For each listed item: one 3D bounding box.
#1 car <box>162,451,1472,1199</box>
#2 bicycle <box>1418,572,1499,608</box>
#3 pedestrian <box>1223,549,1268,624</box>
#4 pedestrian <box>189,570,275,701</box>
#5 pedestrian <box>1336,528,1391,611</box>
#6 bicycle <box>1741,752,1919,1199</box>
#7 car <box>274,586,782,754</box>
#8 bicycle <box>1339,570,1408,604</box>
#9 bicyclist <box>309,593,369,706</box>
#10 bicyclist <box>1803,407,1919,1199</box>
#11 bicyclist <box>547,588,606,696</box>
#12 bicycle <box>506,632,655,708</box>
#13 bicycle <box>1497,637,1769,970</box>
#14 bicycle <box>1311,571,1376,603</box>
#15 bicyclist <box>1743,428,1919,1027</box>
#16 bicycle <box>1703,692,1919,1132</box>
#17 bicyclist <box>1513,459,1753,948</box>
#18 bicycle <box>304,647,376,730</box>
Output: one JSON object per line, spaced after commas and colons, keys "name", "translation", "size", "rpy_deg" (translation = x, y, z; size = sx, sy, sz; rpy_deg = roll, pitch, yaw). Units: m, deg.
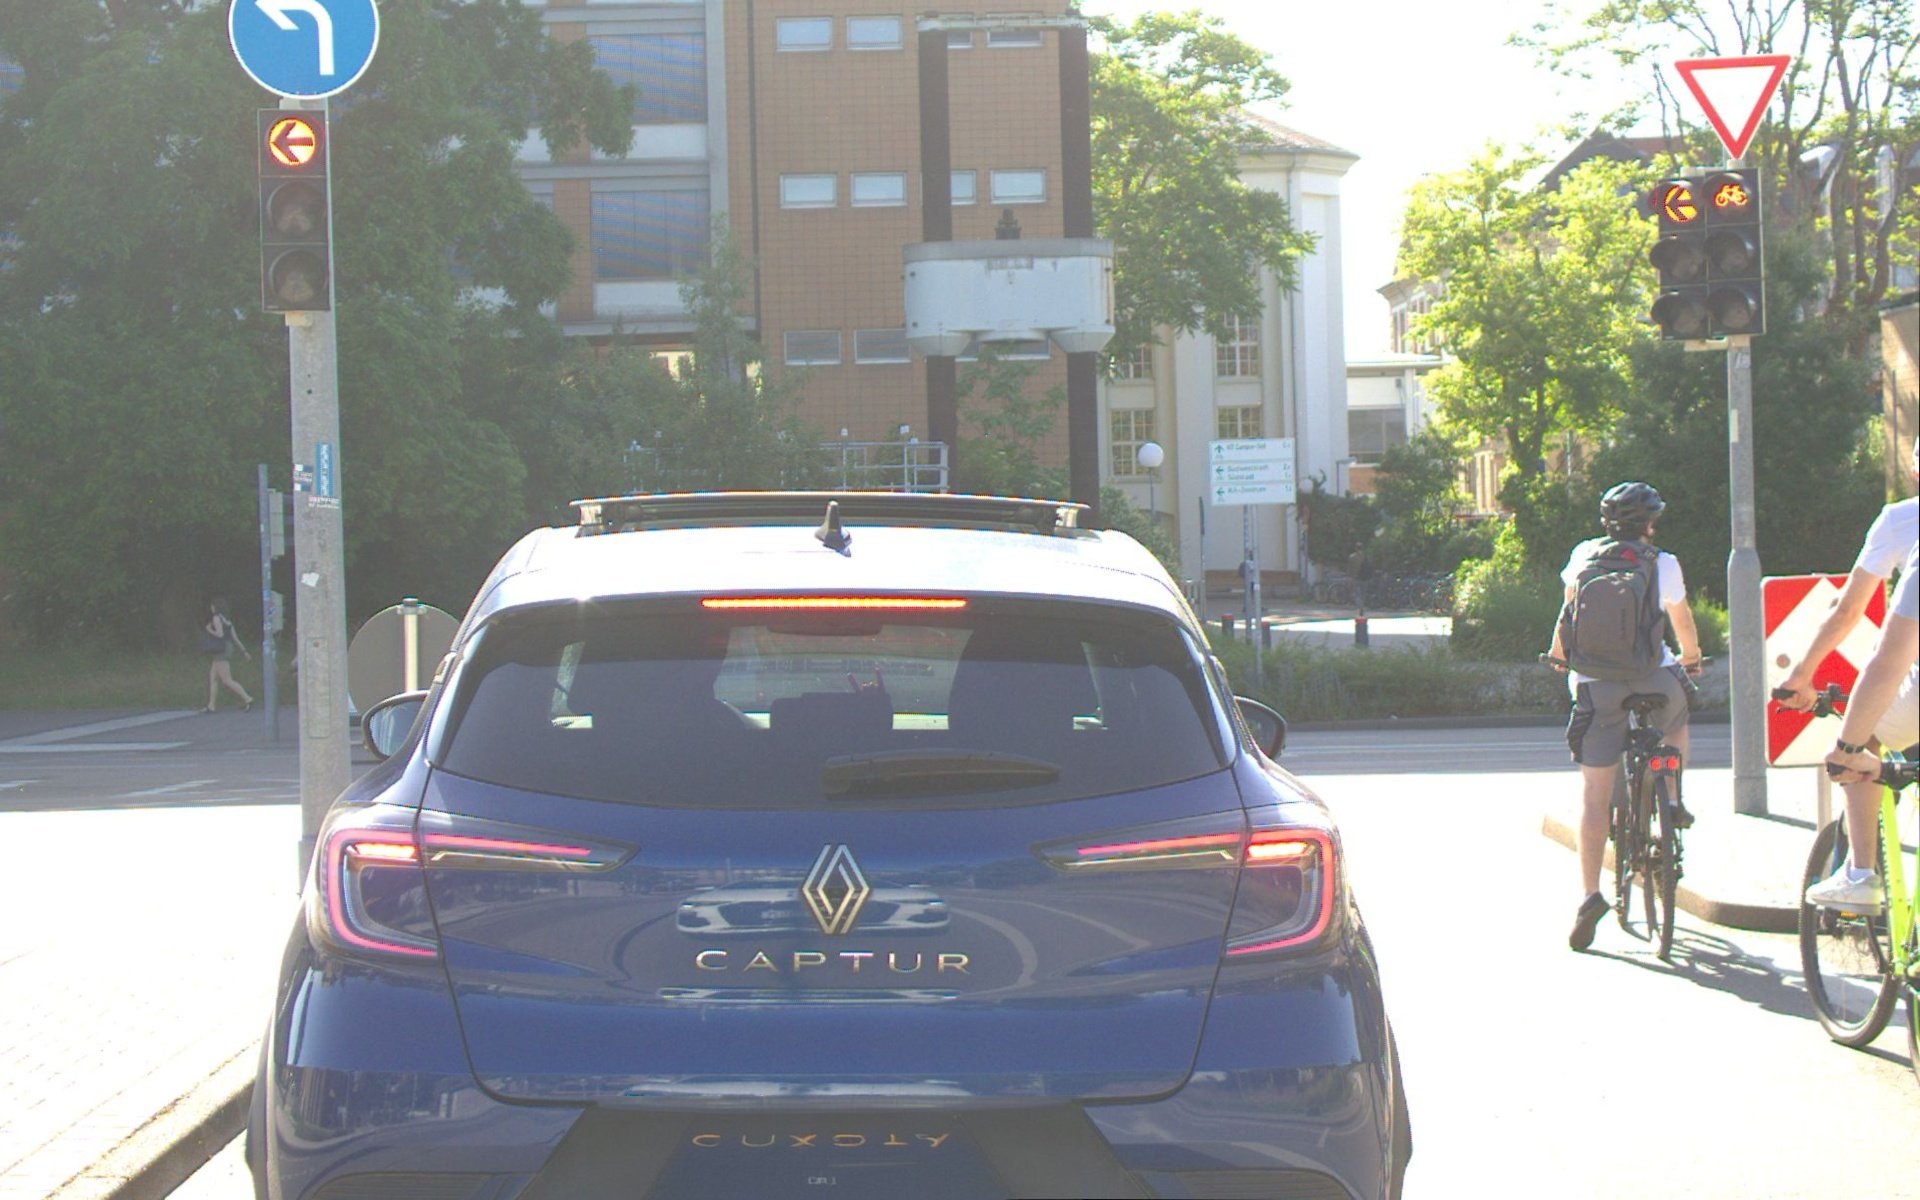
{"name": "car", "translation": [-0.247, 0.590, 6.660], "size": [1.794, 1.649, 3.853], "rpy_deg": [0, 1, -2]}
{"name": "bicycle", "translation": [12.034, -0.238, 83.049], "size": [1.770, 0.820, 0.766], "rpy_deg": [-1, 1, -10]}
{"name": "pedestrian", "translation": [7.779, -0.362, 93.502], "size": [1.151, 2.007, 0.951], "rpy_deg": [-1, 1, 6]}
{"name": "pedestrian", "translation": [-10.406, 0.501, 49.172], "size": [0.932, 1.849, 0.807], "rpy_deg": [-1, 1, 9]}
{"name": "pedestrian", "translation": [9.893, -0.758, 84.344], "size": [1.156, 2.007, 1.164], "rpy_deg": [-1, 1, 0]}
{"name": "bicycle", "translation": [2.275, 0.900, 7.253], "size": [0.747, 1.047, 1.903], "rpy_deg": [-1, 1, -2]}
{"name": "car", "translation": [-4.419, 0.707, 35.557], "size": [4.865, 1.588, 1.938], "rpy_deg": [-1, 1, 7]}
{"name": "bicycle", "translation": [11.403, -0.352, 94.851], "size": [1.771, 0.895, 0.765], "rpy_deg": [-1, 1, 0]}
{"name": "bicyclist", "translation": [-7.916, 0.635, 43.815], "size": [0.647, 1.407, 0.639], "rpy_deg": [-1, -2, -16]}
{"name": "bicyclist", "translation": [2.269, 0.438, 7.199], "size": [0.740, 1.668, 0.866], "rpy_deg": [-1, 1, -2]}
{"name": "bicyclist", "translation": [-5.098, 0.551, 45.702], "size": [0.637, 1.407, 0.649], "rpy_deg": [-1, 1, 5]}
{"name": "bicycle", "translation": [-5.047, 0.926, 45.722], "size": [1.865, 0.955, 0.623], "rpy_deg": [-1, 1, 5]}
{"name": "bicycle", "translation": [2.526, 0.730, 13.086], "size": [0.615, 1.134, 1.826], "rpy_deg": [0, 1, -2]}
{"name": "bicycle", "translation": [11.065, -0.382, 99.215], "size": [1.771, 0.890, 0.765], "rpy_deg": [-1, 1, 0]}
{"name": "bicyclist", "translation": [2.673, 0.333, 9.610], "size": [0.674, 1.577, 1.081], "rpy_deg": [1, 1, -1]}
{"name": "bicycle", "translation": [2.660, 0.824, 9.685], "size": [0.671, 1.047, 1.844], "rpy_deg": [1, 1, -2]}
{"name": "bicyclist", "translation": [2.532, 0.375, 13.013], "size": [0.676, 1.779, 0.940], "rpy_deg": [1, 0, -2]}
{"name": "bicycle", "translation": [-7.923, 1.134, 43.858], "size": [0.698, 1.004, 1.868], "rpy_deg": [-2, -2, -16]}
